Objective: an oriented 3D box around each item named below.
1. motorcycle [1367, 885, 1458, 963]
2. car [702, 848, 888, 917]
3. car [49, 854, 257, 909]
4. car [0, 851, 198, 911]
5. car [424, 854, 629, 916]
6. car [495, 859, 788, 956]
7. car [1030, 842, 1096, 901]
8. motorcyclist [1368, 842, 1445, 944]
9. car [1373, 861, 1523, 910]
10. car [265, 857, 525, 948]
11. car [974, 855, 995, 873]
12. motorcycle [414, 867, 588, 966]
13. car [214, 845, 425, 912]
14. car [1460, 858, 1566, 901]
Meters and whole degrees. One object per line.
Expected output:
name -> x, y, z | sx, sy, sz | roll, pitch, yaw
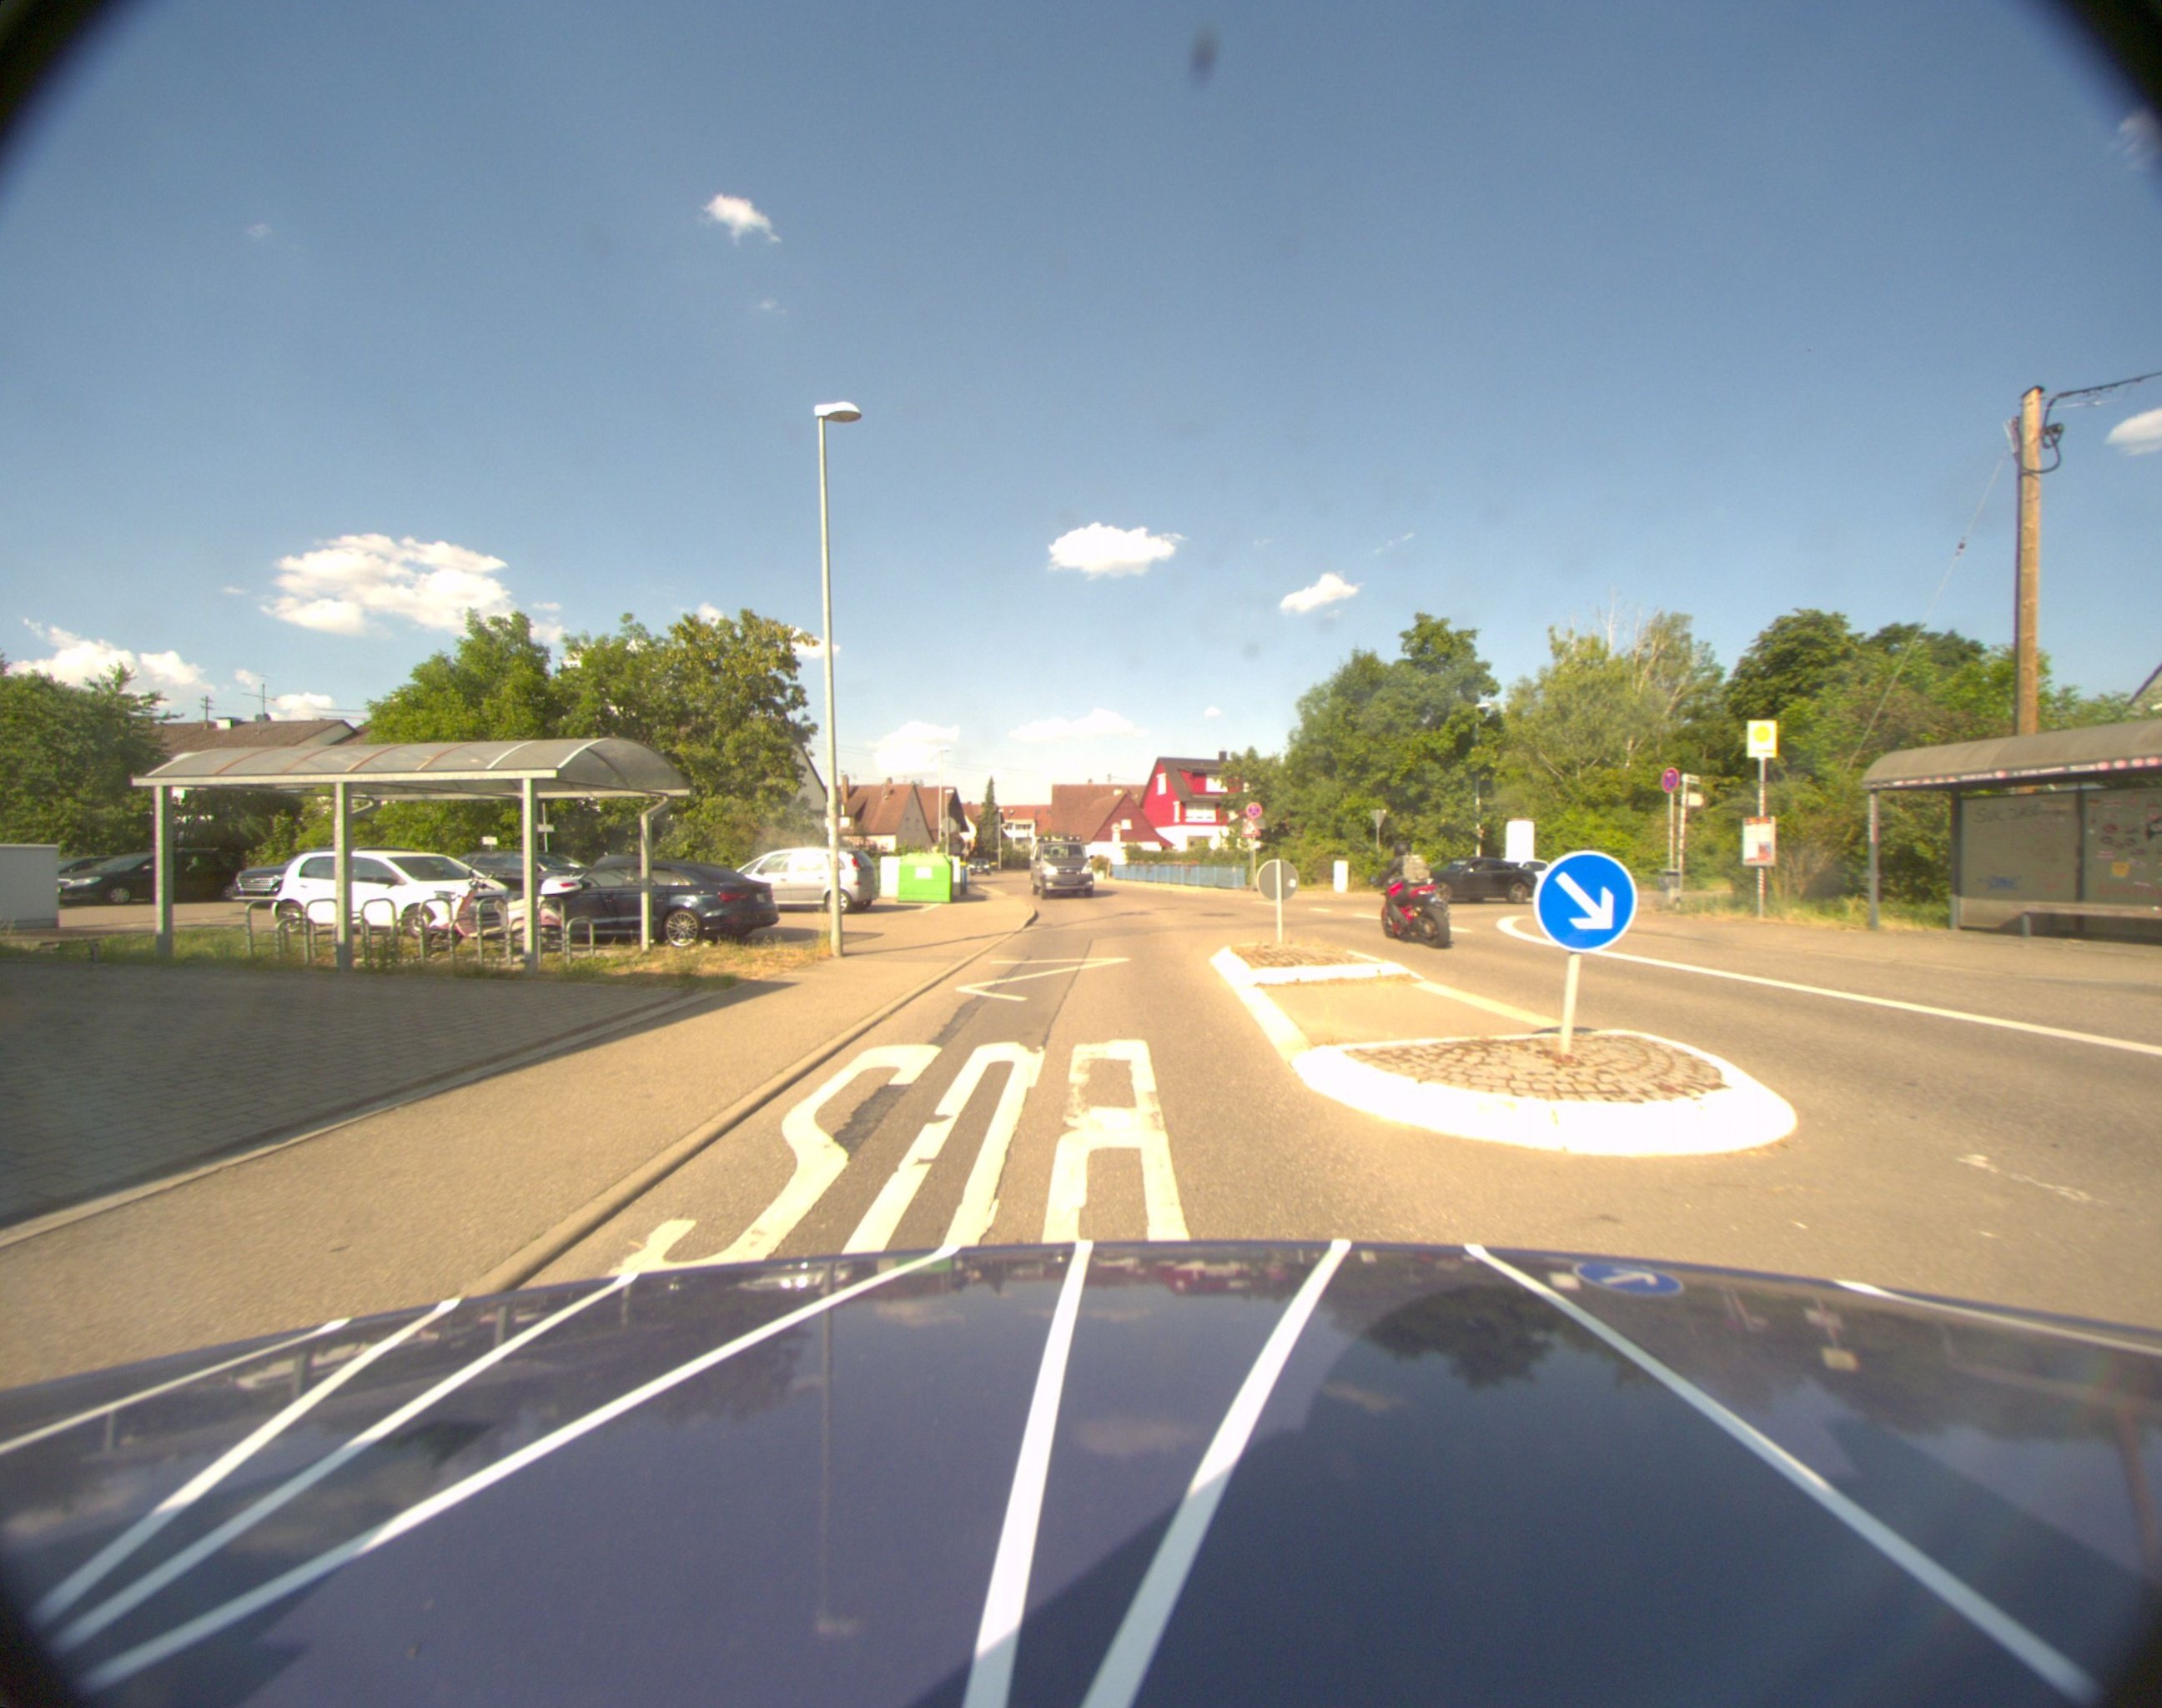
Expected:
motorcycle -> 5.193, 1.057, 12.038 | 0.539, 1.007, 2.027 | -2, 1, 0
car -> -6.971, 0.658, 18.773 | 3.948, 1.594, 1.682 | 0, 1, 2
car -> -27.444, 0.764, 22.664 | 1.680, 1.491, 3.577 | 0, 0, 6
car -> -29.579, 0.746, 22.870 | 1.680, 1.643, 3.588 | 0, 0, 6
car -> -13.846, 0.732, 19.121 | 3.948, 1.440, 1.682 | 0, 1, 2
car -> -7.321, 0.847, 12.863 | 4.073, 1.408, 1.626 | 1, 1, 5
car -> -0.762, 0.574, 28.160 | 1.821, 1.988, 4.817 | 0, 0, -9
motorcyclist -> 5.175, 0.591, 12.138 | 0.738, 1.518, 1.016 | -3, 1, 1
car -> 11.789, 0.946, 24.310 | 4.852, 1.423, 1.767 | 0, 1, -28
car -> -12.045, 0.804, 13.444 | 3.444, 1.408, 1.499 | 1, 1, 7
car -> -9.499, 0.945, 75.063 | 1.974, 1.646, 3.997 | 2, 0, -7
motorcycle -> -8.151, 0.871, 10.762 | 1.832, 1.316, 0.639 | 2, 0, -15
car -> -20.222, 0.590, 20.453 | 1.681, 1.643, 3.952 | 0, 0, 0
car -> 16.711, 0.929, 29.341 | 4.283, 1.483, 1.857 | 0, 1, -34
